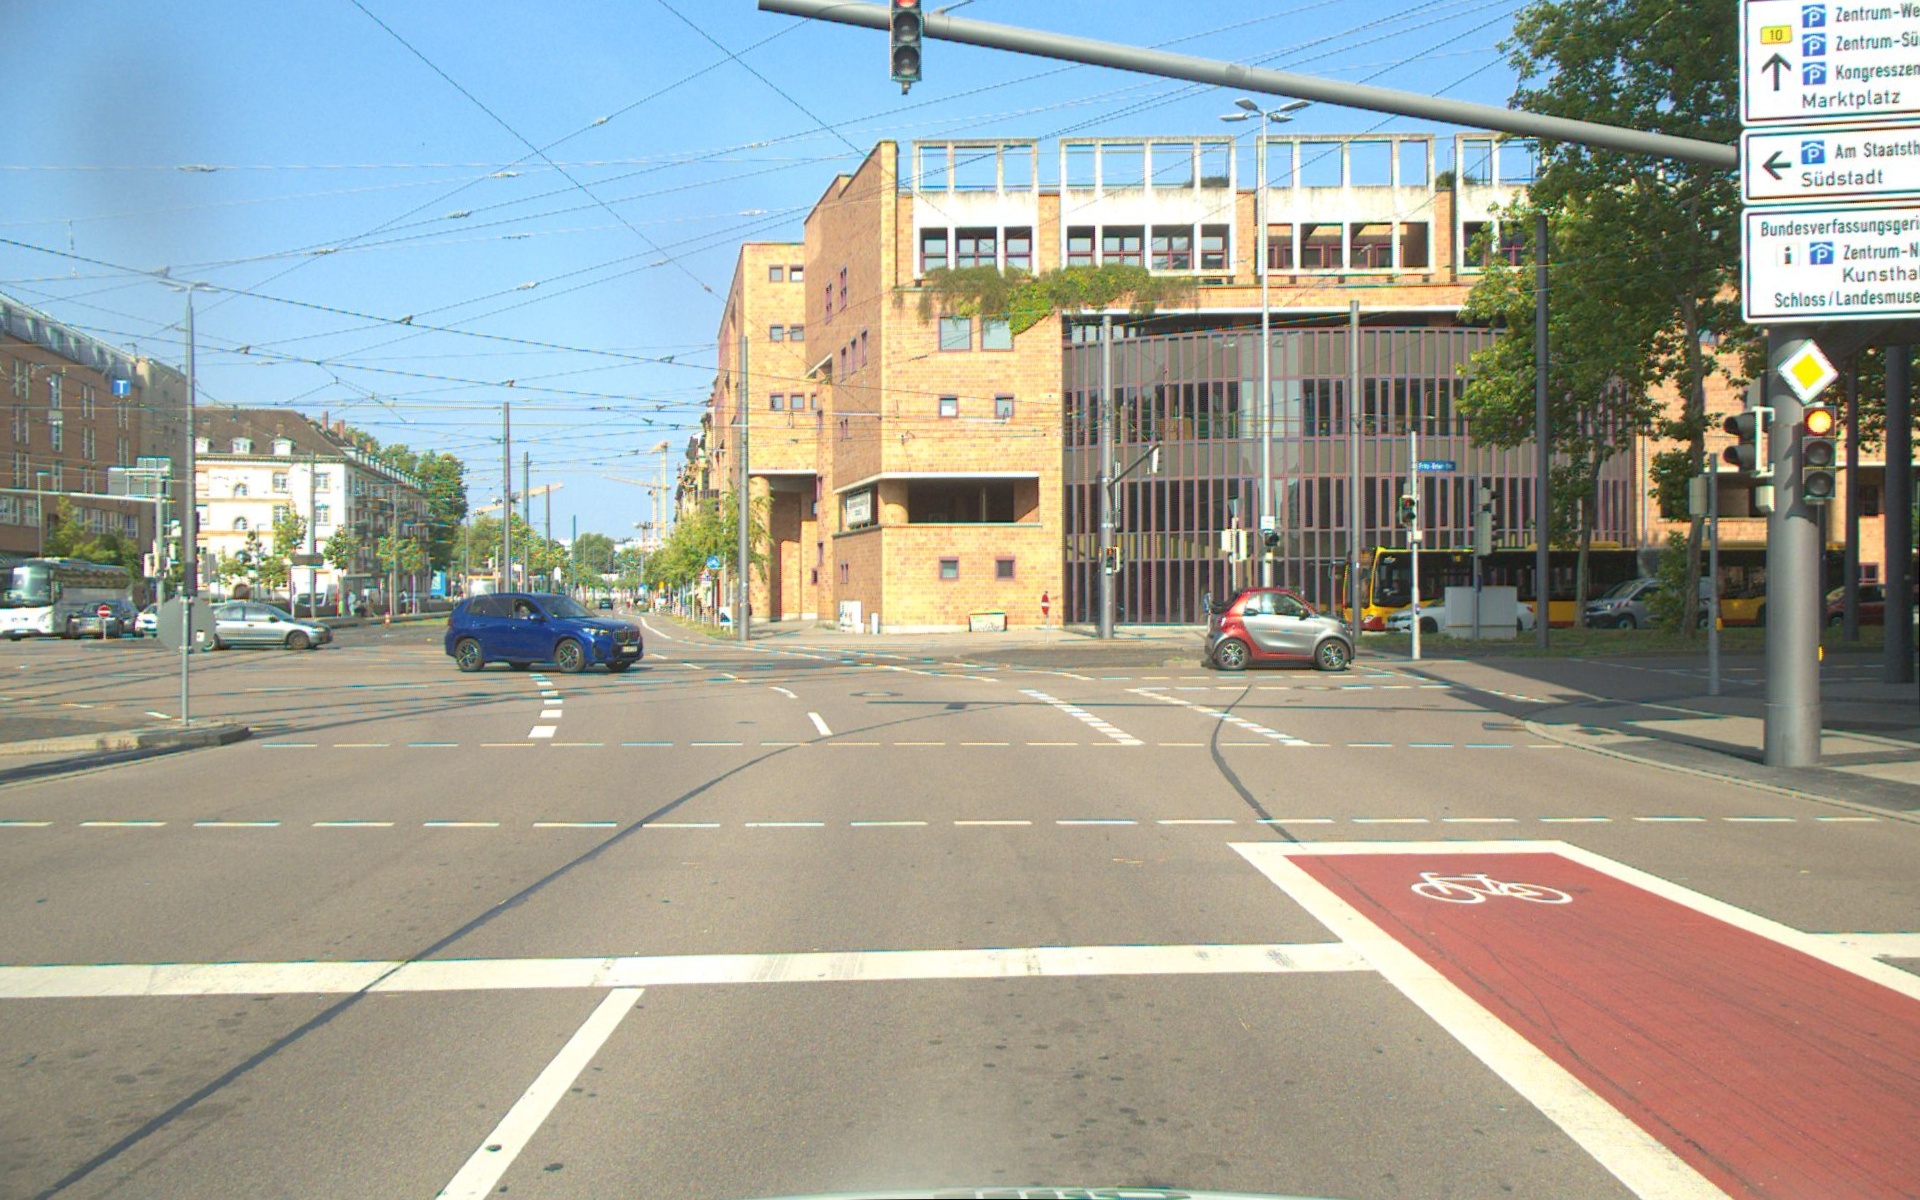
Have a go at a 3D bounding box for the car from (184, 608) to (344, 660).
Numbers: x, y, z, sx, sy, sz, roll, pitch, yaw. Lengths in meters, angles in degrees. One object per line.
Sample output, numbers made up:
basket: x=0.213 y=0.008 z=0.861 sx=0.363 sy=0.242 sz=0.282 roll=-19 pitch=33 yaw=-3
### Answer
car: x=-21.102 y=1.036 z=50.318 sx=4.132 sy=1.513 sz=1.994 roll=0 pitch=-1 yaw=-12

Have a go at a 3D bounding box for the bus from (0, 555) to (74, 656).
bus: x=-40.055 y=0.308 z=68.477 sx=2.698 sy=3.990 sz=12.177 roll=0 pitch=-1 yaw=-12

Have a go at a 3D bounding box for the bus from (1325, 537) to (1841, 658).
bus: x=21.101 y=-0.095 z=55.988 sx=17.289 sy=3.877 sz=2.858 roll=0 pitch=-1 yaw=-10

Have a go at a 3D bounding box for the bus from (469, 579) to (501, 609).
bus: x=-32.943 y=-0.435 z=114.769 sx=1.960 sy=2.049 sz=3.986 roll=0 pitch=0 yaw=-14

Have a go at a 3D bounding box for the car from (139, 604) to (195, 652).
car: x=-34.838 y=1.238 z=72.689 sx=1.573 sy=2.049 sz=2.722 roll=0 pitch=-1 yaw=-11

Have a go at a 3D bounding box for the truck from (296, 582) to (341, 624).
truck: x=-42.052 y=0.199 z=108.535 sx=1.958 sy=2.644 sz=4.725 roll=0 pitch=-1 yaw=-12

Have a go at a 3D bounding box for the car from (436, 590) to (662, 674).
car: x=-8.657 y=0.693 z=34.894 sx=4.310 sy=1.664 sz=1.991 roll=-1 pitch=-2 yaw=23

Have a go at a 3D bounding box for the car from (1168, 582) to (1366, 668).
car: x=5.769 y=0.453 z=31.384 sx=3.516 sy=1.518 sz=1.703 roll=-1 pitch=2 yaw=4

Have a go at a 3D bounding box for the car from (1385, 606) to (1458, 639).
car: x=14.129 y=0.685 z=50.715 sx=1.912 sy=0.975 sz=1.093 roll=-1 pitch=0 yaw=-2

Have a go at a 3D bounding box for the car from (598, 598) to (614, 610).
car: x=-47.960 y=0.517 z=223.950 sx=2.037 sy=1.569 sz=4.400 roll=0 pitch=-1 yaw=-12
